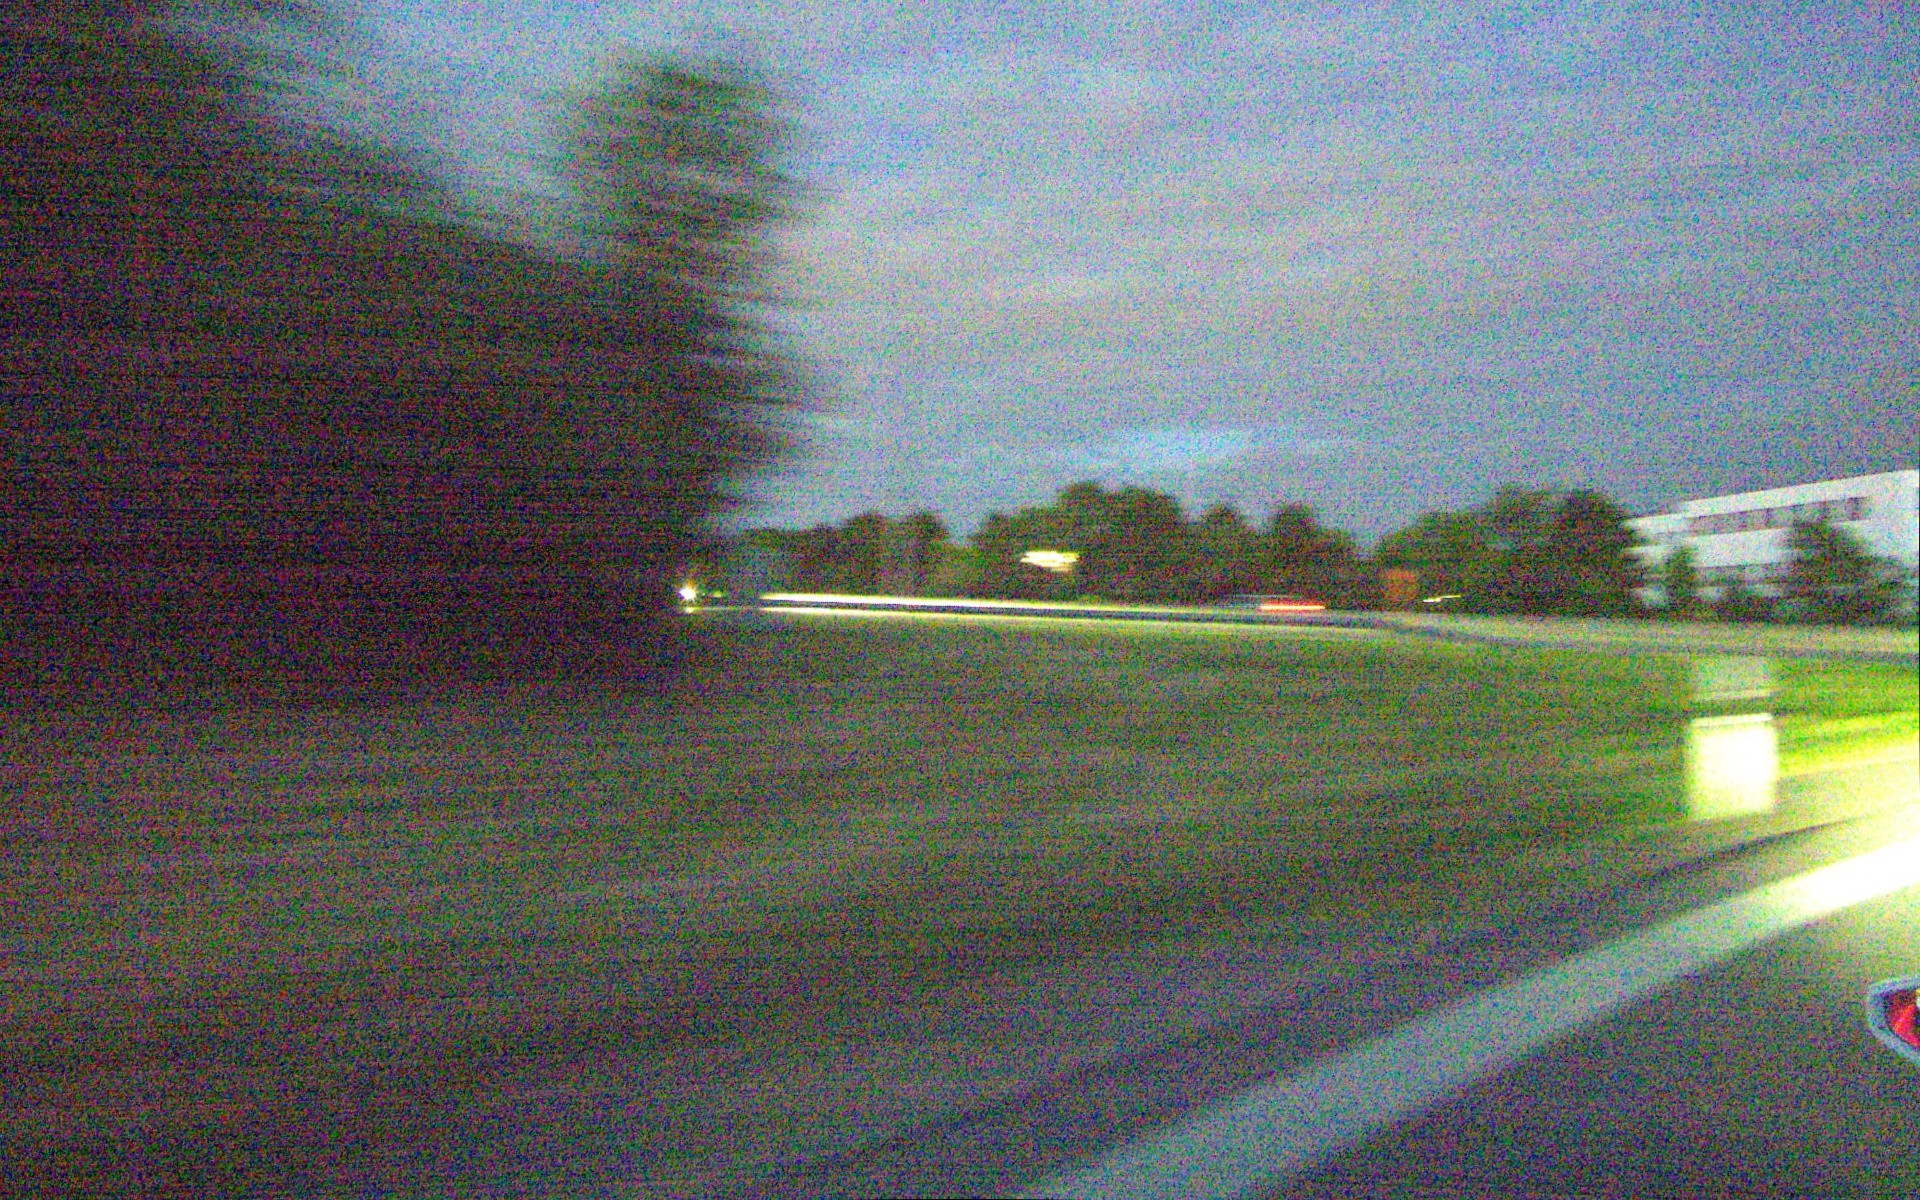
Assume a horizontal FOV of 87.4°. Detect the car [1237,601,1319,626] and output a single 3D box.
[{"bbox_3d":[16.164,0.662,51.133,3.920,1.073,1.564,2,1,19],"label":"car"}]
